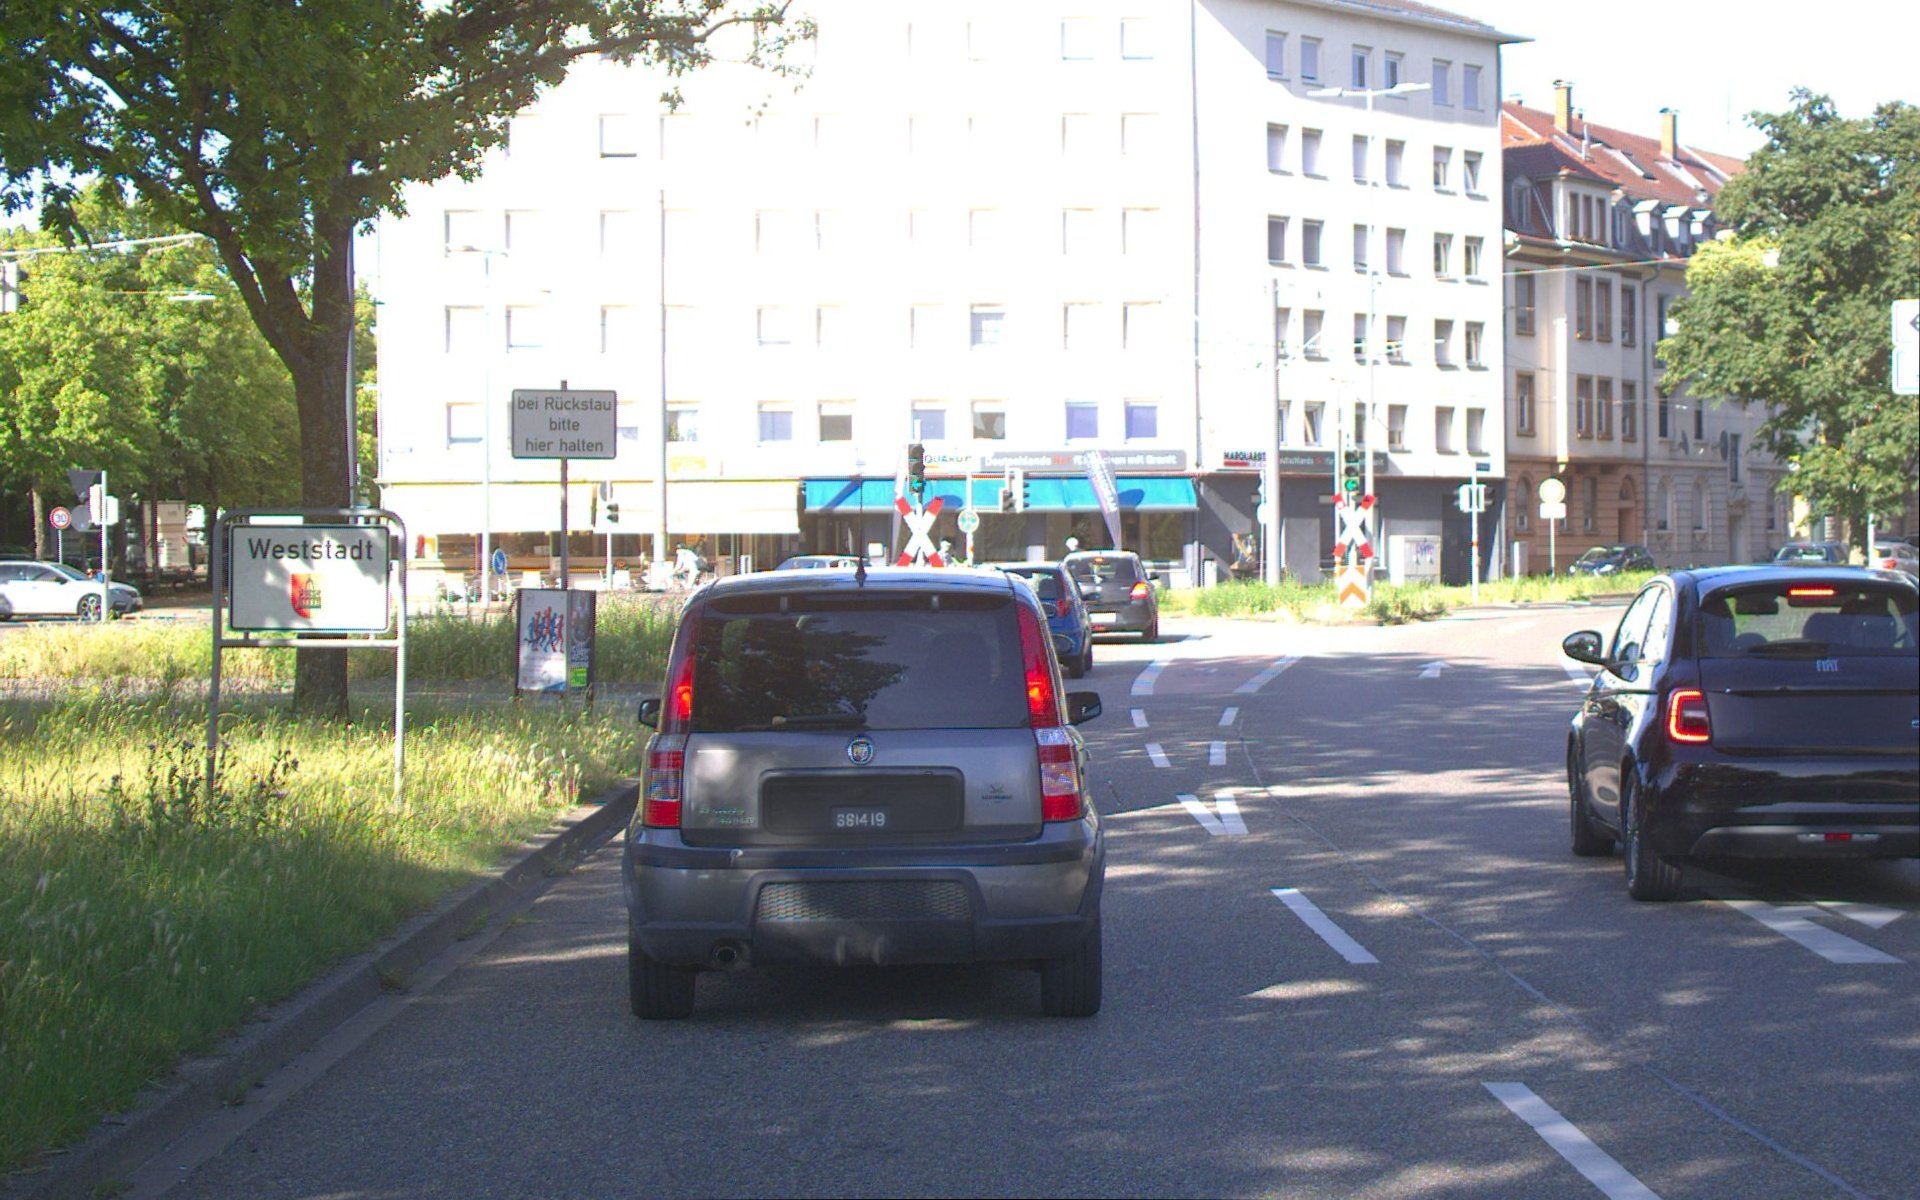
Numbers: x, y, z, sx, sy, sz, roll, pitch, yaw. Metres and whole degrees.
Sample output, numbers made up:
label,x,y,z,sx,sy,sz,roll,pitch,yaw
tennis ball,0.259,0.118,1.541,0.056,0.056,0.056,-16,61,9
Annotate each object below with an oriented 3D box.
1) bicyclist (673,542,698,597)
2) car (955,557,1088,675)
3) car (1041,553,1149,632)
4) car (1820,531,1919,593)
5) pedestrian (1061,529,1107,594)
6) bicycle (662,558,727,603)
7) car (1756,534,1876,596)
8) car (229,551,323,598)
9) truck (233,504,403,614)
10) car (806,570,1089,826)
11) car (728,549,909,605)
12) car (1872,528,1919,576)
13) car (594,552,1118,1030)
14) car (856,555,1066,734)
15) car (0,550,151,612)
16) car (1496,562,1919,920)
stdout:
label,x,y,z,sx,sy,sz,roll,pitch,yaw
bicyclist,-6.829,-0.755,85.579,0.595,1.352,0.532,0,1,-1
car,0.782,0.174,44.339,1.646,1.433,3.396,0,1,1
car,2.170,-0.120,55.970,1.690,1.249,3.626,0,0,1
car,23.299,-0.969,86.944,1.823,1.503,3.993,0,1,33
pedestrian,2.753,-0.843,76.296,0.773,1.423,0.939,1,0,-14
bicycle,-6.604,-0.491,85.580,1.580,1.086,0.532,0,1,-1
car,20.628,-0.862,82.799,1.778,1.437,3.612,1,2,32
car,-19.942,-0.764,100.322,1.993,1.305,4.000,0,1,-1
truck,-14.574,-0.930,77.928,1.789,2.418,4.107,-1,1,-45
car,-0.105,0.548,21.628,1.621,1.424,3.688,0,1,-1
car,-3.255,-0.543,78.512,1.995,1.239,3.998,-1,1,-43
car,31.975,-1.598,113.505,1.904,1.588,4.001,-1,1,-14
car,-0.312,0.588,12.595,1.660,1.505,3.251,0,1,1
car,0.006,0.345,31.156,1.760,1.481,4.293,0,1,0
car,-21.643,-0.466,81.872,4.387,1.443,1.669,0,1,-2
car,3.736,0.581,16.480,1.674,1.498,3.562,0,1,-2
